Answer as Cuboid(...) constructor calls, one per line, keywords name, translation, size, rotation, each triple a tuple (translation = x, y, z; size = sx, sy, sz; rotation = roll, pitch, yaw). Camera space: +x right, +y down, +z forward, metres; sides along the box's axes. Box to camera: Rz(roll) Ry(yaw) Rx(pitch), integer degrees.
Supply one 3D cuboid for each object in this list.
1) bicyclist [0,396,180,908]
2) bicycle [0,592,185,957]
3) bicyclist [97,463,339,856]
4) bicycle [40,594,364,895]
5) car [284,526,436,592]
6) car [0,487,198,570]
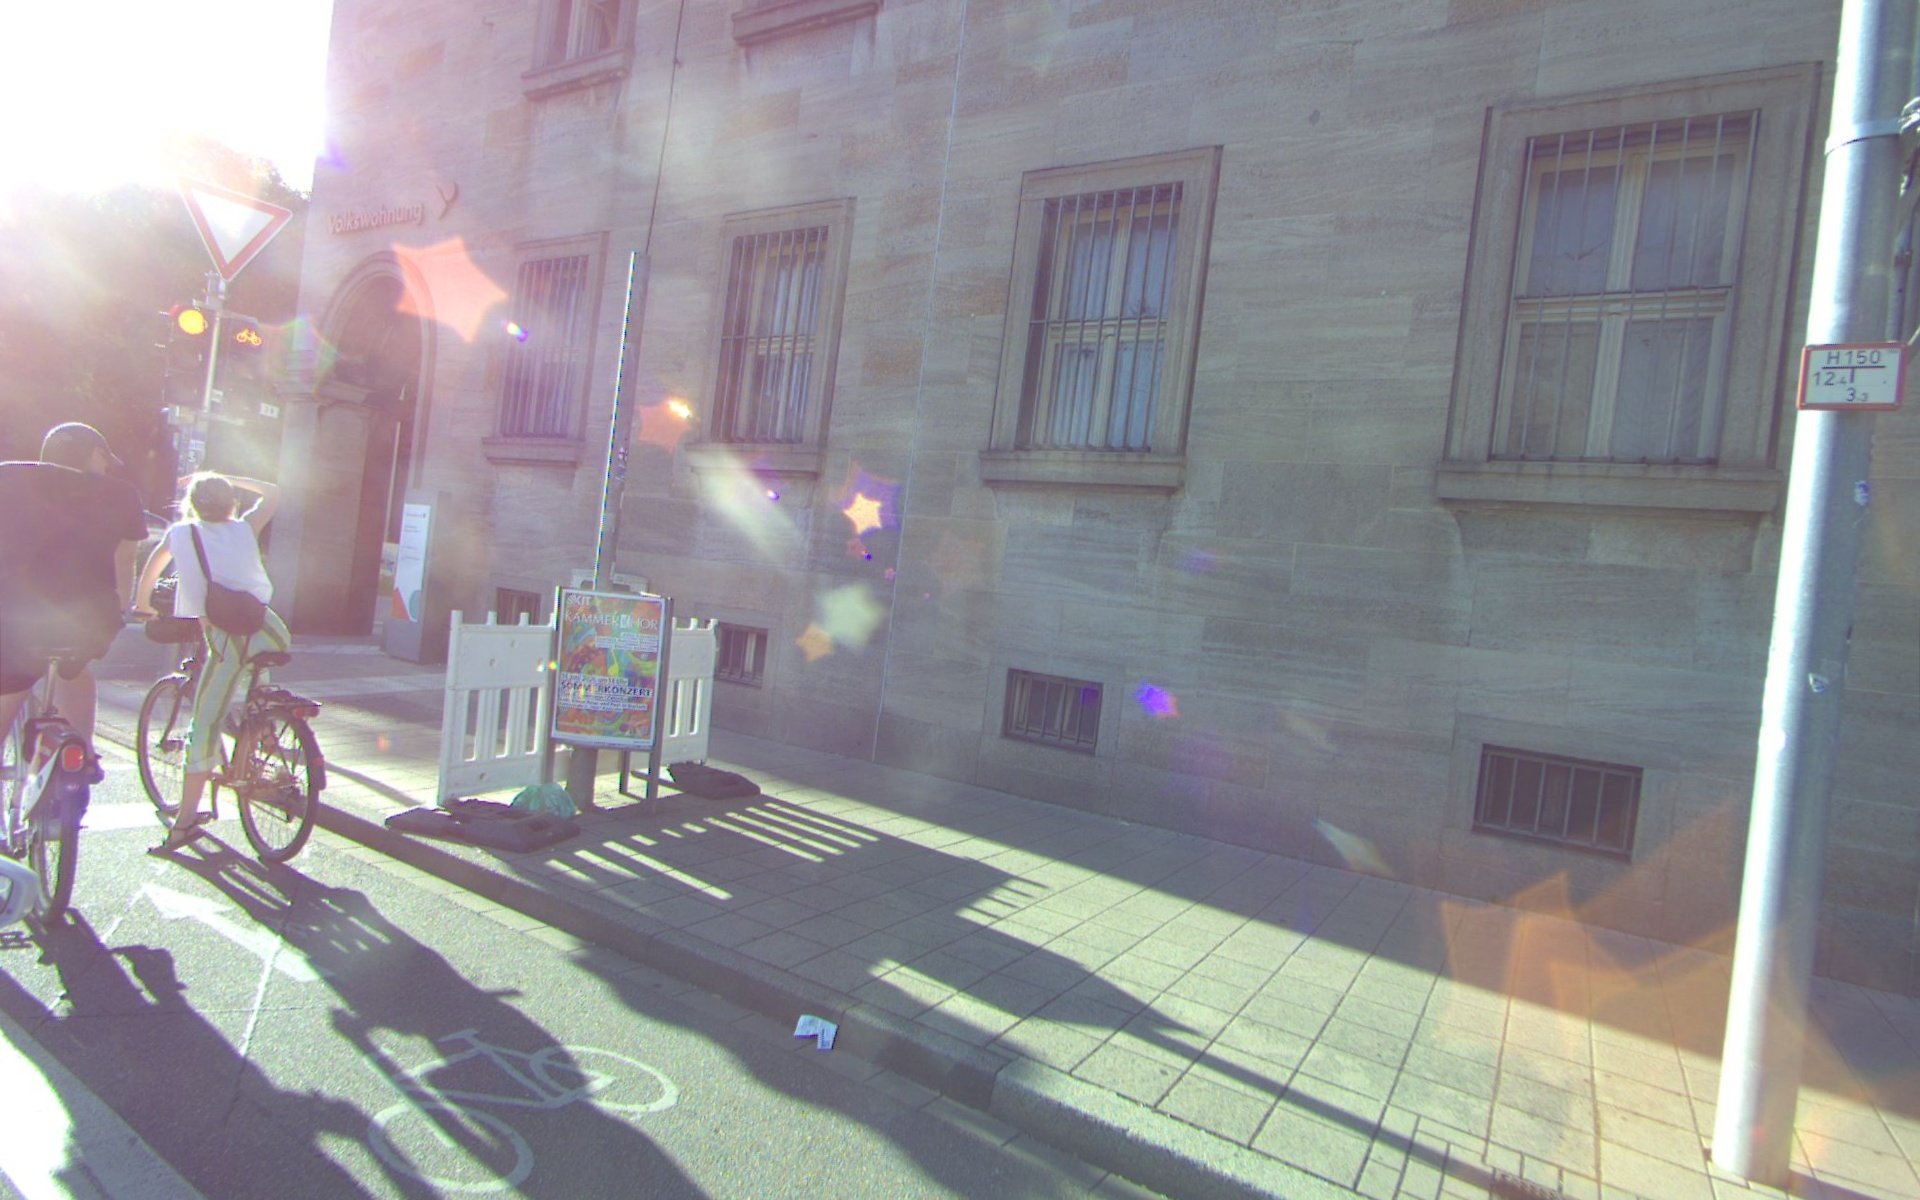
Cuboid(name="bicyclist", translation=(-3.548, 0.192, 3.855), size=(0.541, 1.820, 0.559), rotation=(7, -1, 33))
Cuboid(name="bicycle", translation=(-3.737, 0.574, 3.925), size=(1.700, 1.090, 0.516), rotation=(7, -1, 34))
Cuboid(name="bicyclist", translation=(-3.534, 0.265, 4.805), size=(0.629, 1.711, 0.558), rotation=(7, -1, 30))
Cuboid(name="bicycle", translation=(-3.681, 0.621, 4.843), size=(1.721, 1.090, 0.535), rotation=(7, -1, 31))
Cuboid(name="car", translation=(-19.650, -1.312, 33.100), size=(1.623, 1.630, 3.854), rotation=(7, -1, 31))
Cuboid(name="car", translation=(-23.371, -1.892, 27.197), size=(1.623, 1.630, 3.999), rotation=(7, -1, 31))
